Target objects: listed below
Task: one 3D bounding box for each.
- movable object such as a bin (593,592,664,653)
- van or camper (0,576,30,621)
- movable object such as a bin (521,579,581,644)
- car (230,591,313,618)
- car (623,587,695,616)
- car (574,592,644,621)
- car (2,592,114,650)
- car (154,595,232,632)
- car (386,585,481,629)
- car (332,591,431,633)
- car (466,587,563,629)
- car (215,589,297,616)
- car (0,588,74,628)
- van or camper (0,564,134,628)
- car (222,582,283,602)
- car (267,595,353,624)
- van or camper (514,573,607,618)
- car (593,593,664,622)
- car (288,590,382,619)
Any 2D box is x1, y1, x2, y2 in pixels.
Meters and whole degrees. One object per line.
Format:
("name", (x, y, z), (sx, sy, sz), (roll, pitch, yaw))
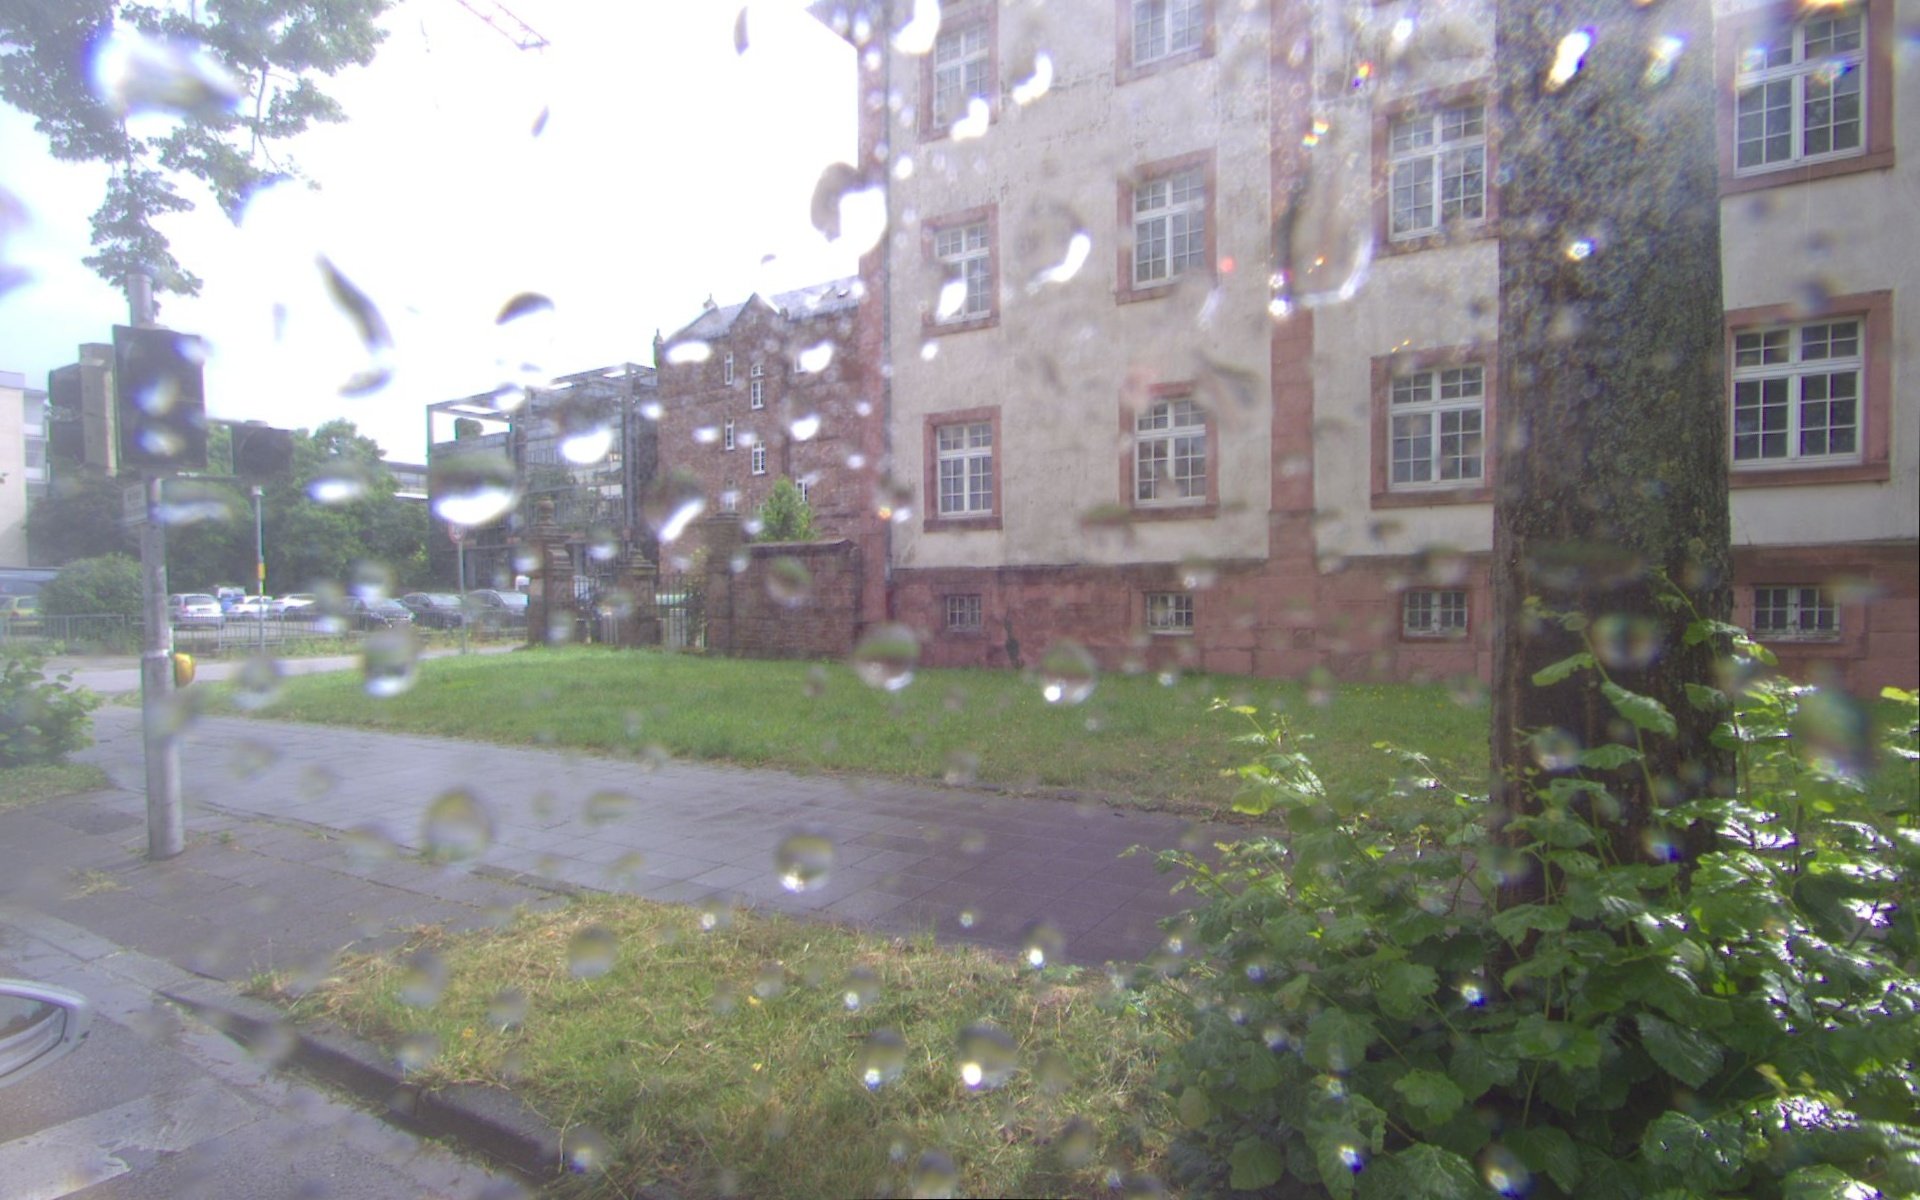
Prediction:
("movable object such as a bin", (-8.484, 0.546, 25.656), (1.371, 1.477, 1.103), (1, 3, 34))
("van or camper", (-47.325, -0.068, 47.215), (2.291, 2.160, 4.743), (1, 1, 36))
("movable object such as a bin", (-9.613, 0.248, 23.532), (1.081, 1.477, 0.797), (1, 3, 34))
("car", (-40.108, 0.240, 58.421), (1.617, 1.506, 3.654), (0, 1, 36))
("car", (-16.888, 0.063, 56.331), (1.649, 1.545, 3.656), (0, 1, 34))
("car", (-20.626, 0.381, 58.982), (1.649, 1.598, 3.656), (0, 1, 34))
("car", (-29.584, 0.650, 32.802), (4.180, 1.773, 1.798), (0, 1, 35))
("car", (-33.110, 0.540, 43.208), (3.668, 1.506, 1.643), (0, 1, 36))
("car", (-21.690, 0.253, 41.198), (4.368, 1.702, 1.845), (0, 1, 39))
("car", (-22.612, 0.443, 39.101), (4.366, 1.547, 1.822), (0, 1, 38))
("car", (-19.284, 0.322, 43.267), (4.363, 1.702, 1.847), (0, 1, 35))
("car", (-41.949, 0.142, 59.743), (1.617, 1.506, 3.654), (0, 1, 36))
("car", (-36.243, 0.289, 39.144), (3.370, 1.468, 1.606), (0, 1, 35))
("van or camper", (-38.469, -0.140, 42.391), (2.145, 2.588, 4.986), (-1, 0, 34))
("car", (-50.419, -0.571, 71.382), (1.489, 1.416, 3.214), (0, 1, 36))
("car", (-35.818, 0.490, 55.258), (1.617, 1.506, 3.654), (0, 1, 36))
("van or camper", (-23.715, -0.208, 59.647), (2.226, 2.518, 4.778), (-1, -2, 32))
("car", (-19.063, 0.454, 57.719), (1.649, 1.505, 3.659), (0, -2, 34))
("car", (-33.775, 0.233, 54.213), (1.649, 1.485, 3.962), (0, 1, 34))
